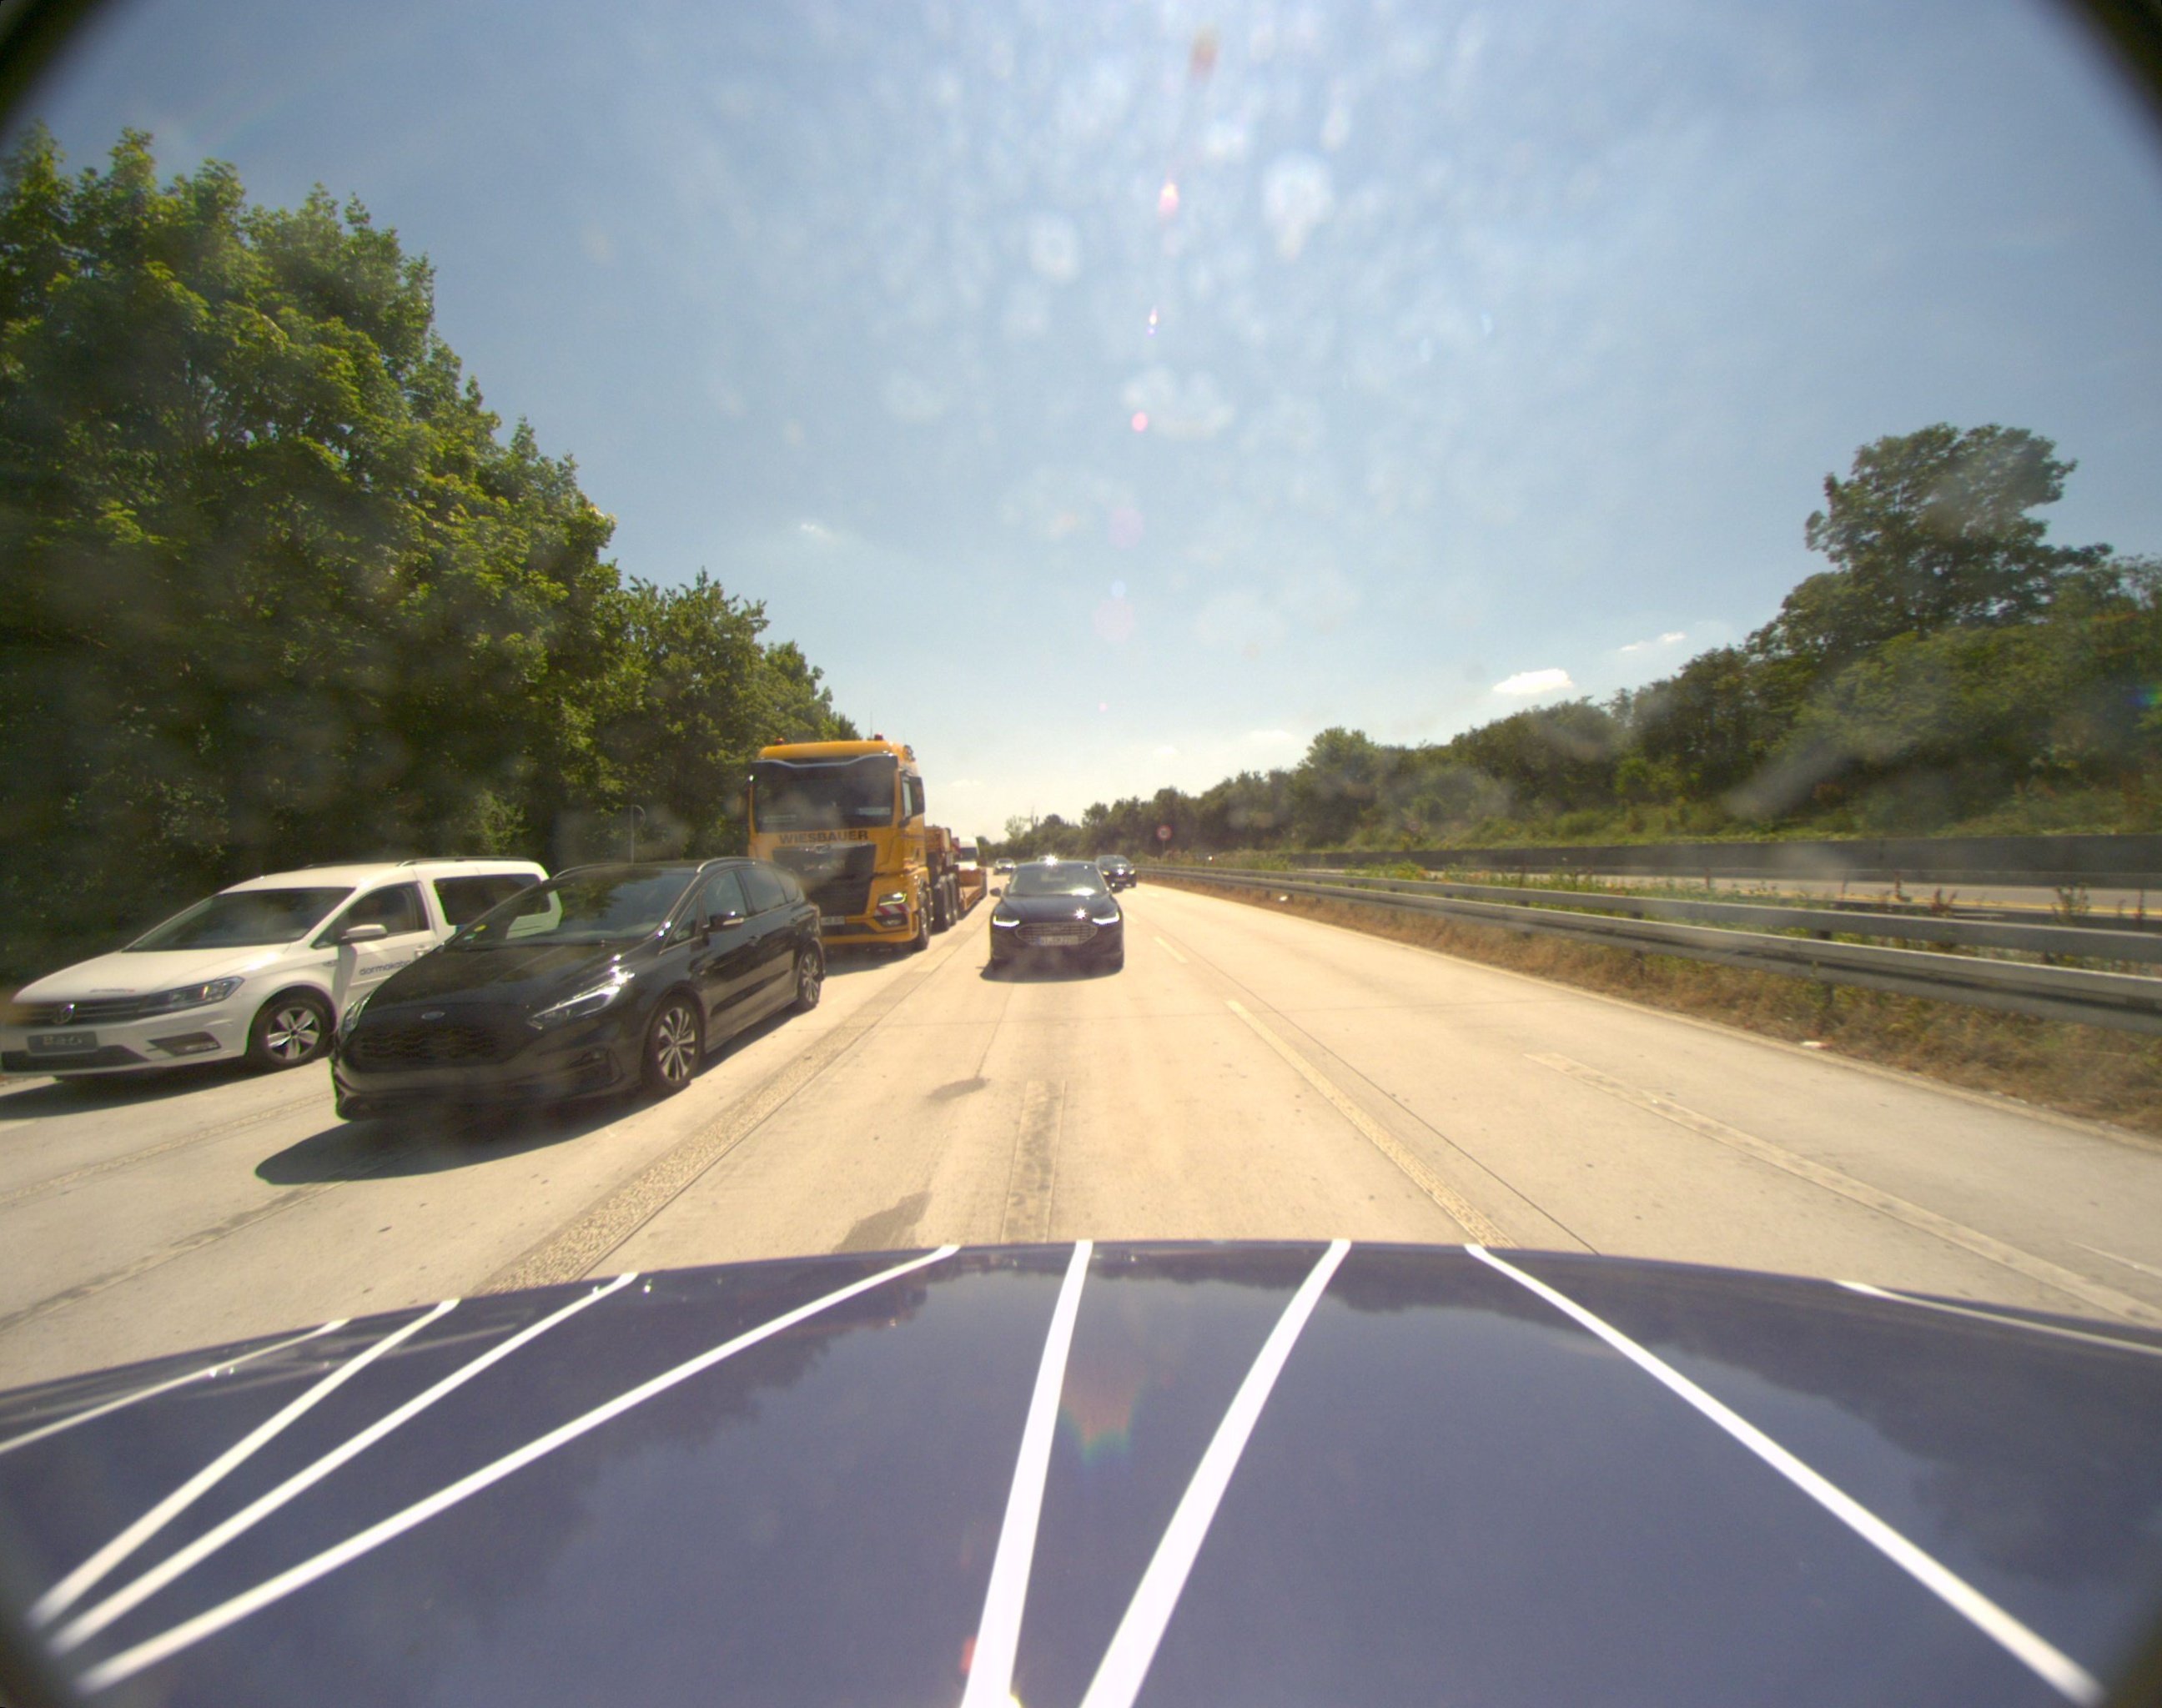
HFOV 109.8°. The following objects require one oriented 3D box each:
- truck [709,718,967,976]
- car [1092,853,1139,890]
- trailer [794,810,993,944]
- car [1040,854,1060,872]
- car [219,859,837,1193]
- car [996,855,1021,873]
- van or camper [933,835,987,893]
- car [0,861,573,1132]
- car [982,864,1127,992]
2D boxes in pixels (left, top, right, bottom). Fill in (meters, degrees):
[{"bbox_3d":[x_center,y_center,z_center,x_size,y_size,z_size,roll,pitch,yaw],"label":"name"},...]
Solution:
[{"bbox_3d":[-4.179,-0.143,15.130,3.022,3.751,7.466,-2,1,-4],"label":"truck"},{"bbox_3d":[1.558,0.766,35.354,1.628,1.476,3.998,-2,1,-5],"label":"car"},{"bbox_3d":[-4.695,0.443,23.454,3.036,2.578,16.350,-2,0,-4],"label":"trailer"},{"bbox_3d":[-2.701,0.774,66.760,1.706,1.456,3.999,-2,1,-2],"label":"car"},{"bbox_3d":[-3.708,0.945,6.412,1.788,1.630,4.646,-2,1,-1],"label":"car"},{"bbox_3d":[-6.434,0.892,67.676,1.891,1.456,3.999,-2,1,-1],"label":"car"},{"bbox_3d":[-5.794,0.413,37.122,2.069,2.559,5.904,-2,1,-5],"label":"van or camper"},{"bbox_3d":[-7.706,1.059,7.838,1.772,1.797,4.791,-2,1,-2],"label":"car"},{"bbox_3d":[-0.416,0.945,11.536,1.731,1.430,4.302,-2,0,-3],"label":"car"}]
